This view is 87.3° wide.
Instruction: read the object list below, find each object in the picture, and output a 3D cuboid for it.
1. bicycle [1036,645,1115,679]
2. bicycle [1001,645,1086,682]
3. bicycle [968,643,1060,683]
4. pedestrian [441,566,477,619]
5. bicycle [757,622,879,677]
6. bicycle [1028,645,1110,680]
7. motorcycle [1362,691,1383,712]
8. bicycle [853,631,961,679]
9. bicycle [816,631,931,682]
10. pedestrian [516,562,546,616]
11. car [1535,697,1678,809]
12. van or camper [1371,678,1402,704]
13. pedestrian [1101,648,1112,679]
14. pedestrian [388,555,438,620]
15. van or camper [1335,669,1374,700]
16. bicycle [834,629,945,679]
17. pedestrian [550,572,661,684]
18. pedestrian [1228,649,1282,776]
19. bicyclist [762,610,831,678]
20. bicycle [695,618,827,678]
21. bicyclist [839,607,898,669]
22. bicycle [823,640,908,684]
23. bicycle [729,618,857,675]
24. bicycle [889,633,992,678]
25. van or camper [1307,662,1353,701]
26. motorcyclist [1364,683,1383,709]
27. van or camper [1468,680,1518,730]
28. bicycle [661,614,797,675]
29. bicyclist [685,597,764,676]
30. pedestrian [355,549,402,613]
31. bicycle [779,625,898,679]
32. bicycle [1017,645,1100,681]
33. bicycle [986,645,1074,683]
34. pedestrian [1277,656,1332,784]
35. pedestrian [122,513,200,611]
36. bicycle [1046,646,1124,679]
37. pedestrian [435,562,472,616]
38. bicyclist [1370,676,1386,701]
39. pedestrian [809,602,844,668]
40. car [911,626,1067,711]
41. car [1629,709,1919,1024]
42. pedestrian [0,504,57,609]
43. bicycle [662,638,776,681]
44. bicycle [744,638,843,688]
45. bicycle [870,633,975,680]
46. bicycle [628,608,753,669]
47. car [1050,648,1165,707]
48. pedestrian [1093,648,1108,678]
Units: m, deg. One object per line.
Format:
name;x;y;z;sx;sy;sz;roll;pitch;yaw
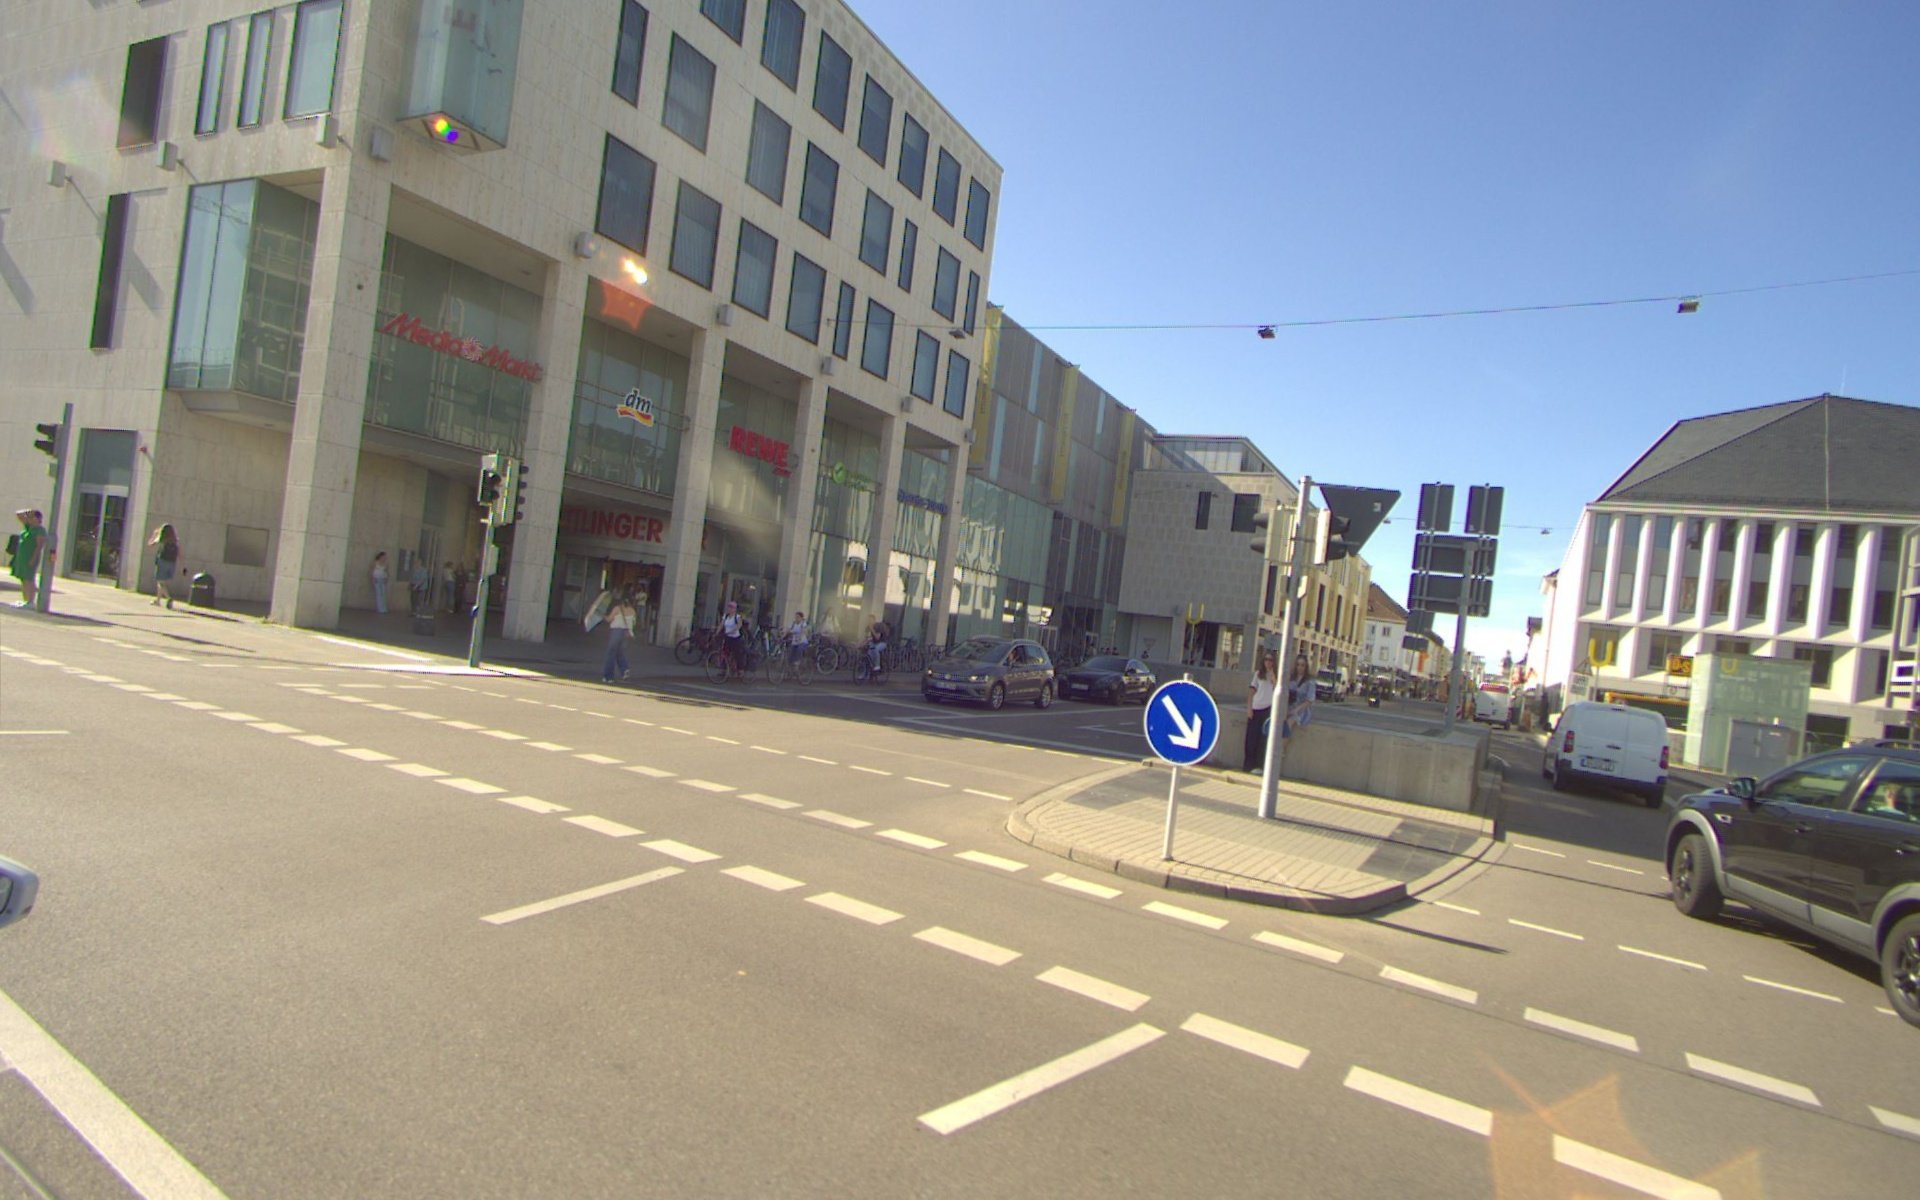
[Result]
bicycle;5.367;2.876;46.860;3.437;1.107;1.069;7;-1;29
bicycle;3.589;2.727;43.531;3.437;1.107;1.069;7;-1;29
bicycle;2.118;2.495;40.030;3.437;1.107;1.069;7;-1;29
pedestrian;-16.255;-0.243;32.664;0.738;1.627;0.555;8;0;-11
bicycle;-4.100;1.422;28.899;3.437;1.107;1.069;7;-1;29
bicycle;4.940;2.828;45.754;3.437;1.107;1.069;7;-1;29
motorcycle;24.294;5.972;59.193;0.782;1.111;2.962;6;-3;28
bicycle;-1.785;1.811;33.402;3.437;1.107;1.069;7;-1;29
bicycle;-2.698;1.745;31.249;3.437;1.107;1.069;7;-1;29
pedestrian;-14.928;-0.365;34.998;0.639;1.784;0.555;8;0;-10
car;12.926;2.982;20.366;1.759;1.753;4.163;7;-2;26
van or camper;47.700;10.170;112.506;2.141;2.543;6.419;7;-2;31
pedestrian;8.360;3.632;57.518;0.290;1.704;0.337;7;0;35
pedestrian;-14.757;-0.333;27.166;0.737;1.627;0.725;8;0;27
van or camper;37.052;7.942;94.377;2.141;2.543;6.419;7;-2;31
bicycle;-2.276;1.732;32.347;3.437;1.107;1.069;7;-1;29
pedestrian;-6.411;0.499;18.218;1.496;1.824;0.969;7;1;26
pedestrian;4.035;1.514;13.741;0.517;1.633;0.662;7;1;17
bicyclist;-3.780;1.015;23.280;1.058;1.412;0.935;7;-1;29
bicycle;-5.326;1.269;26.770;3.436;1.107;1.069;7;-1;28
bicyclist;-2.350;0.984;25.953;1.023;1.450;0.935;7;-1;29
bicycle;-2.413;1.614;25.998;1.013;0.943;2.198;7;-2;29
bicycle;-4.650;1.285;27.878;3.436;1.107;1.069;7;-1;28
bicycle;-0.710;1.941;35.514;3.437;1.107;1.069;7;-1;29
van or camper;27.523;6.074;74.686;2.140;2.543;6.423;7;-2;28
motorcyclist;24.311;5.665;59.166;0.782;1.398;1.082;6;-2;28
van or camper;32.462;6.359;61.300;2.283;2.543;6.422;7;-2;28
bicycle;-5.949;1.132;25.782;3.436;1.107;1.069;7;-1;28
bicyclist;-4.949;0.778;21.152;1.054;1.493;1.024;7;-1;30
pedestrian;-15.735;-0.507;27.230;0.547;1.627;0.750;8;0;25
bicycle;-3.623;1.540;29.933;3.437;1.107;1.069;7;-1;29
bicycle;4.356;2.779;44.670;3.437;1.107;1.069;7;-1;29
bicycle;2.929;2.697;42.248;3.437;1.107;1.069;7;-1;29
pedestrian;4.670;1.608;13.674;0.517;1.633;0.662;7;1;17
pedestrian;-16.163;-0.762;20.357;1.047;1.824;0.729;7;1;26
bicycle;5.948;2.969;47.872;3.437;1.107;1.069;7;-1;29
pedestrian;-16.113;-0.343;32.016;0.738;1.627;0.555;8;0;-11
bicyclist;29.482;6.235;70.922;0.782;1.689;0.955;6;-2;28
pedestrian;-4.058;1.064;30.669;0.727;1.930;0.637;7;0;3
car;0.775;1.621;23.274;1.829;1.631;4.196;5;-2;28
car;6.887;1.864;7.103;1.756;1.719;4.418;8;-2;9
pedestrian;-16.201;-0.756;17.314;0.685;1.724;0.658;7;2;24
bicycle;-5.017;1.259;21.111;1.053;0.679;2.198;7;-2;29
bicycle;-3.825;1.484;23.316;1.053;0.954;2.198;7;-2;29
bicycle;-1.312;1.927;34.487;3.437;1.107;1.069;7;-1;29
bicycle;-6.659;0.947;24.839;2.939;1.107;1.069;7;-1;28
car;4.453;2.308;29.766;1.829;1.437;4.616;5;-2;28
pedestrian;8.187;3.668;58.520;0.563;1.704;0.537;7;0;19
